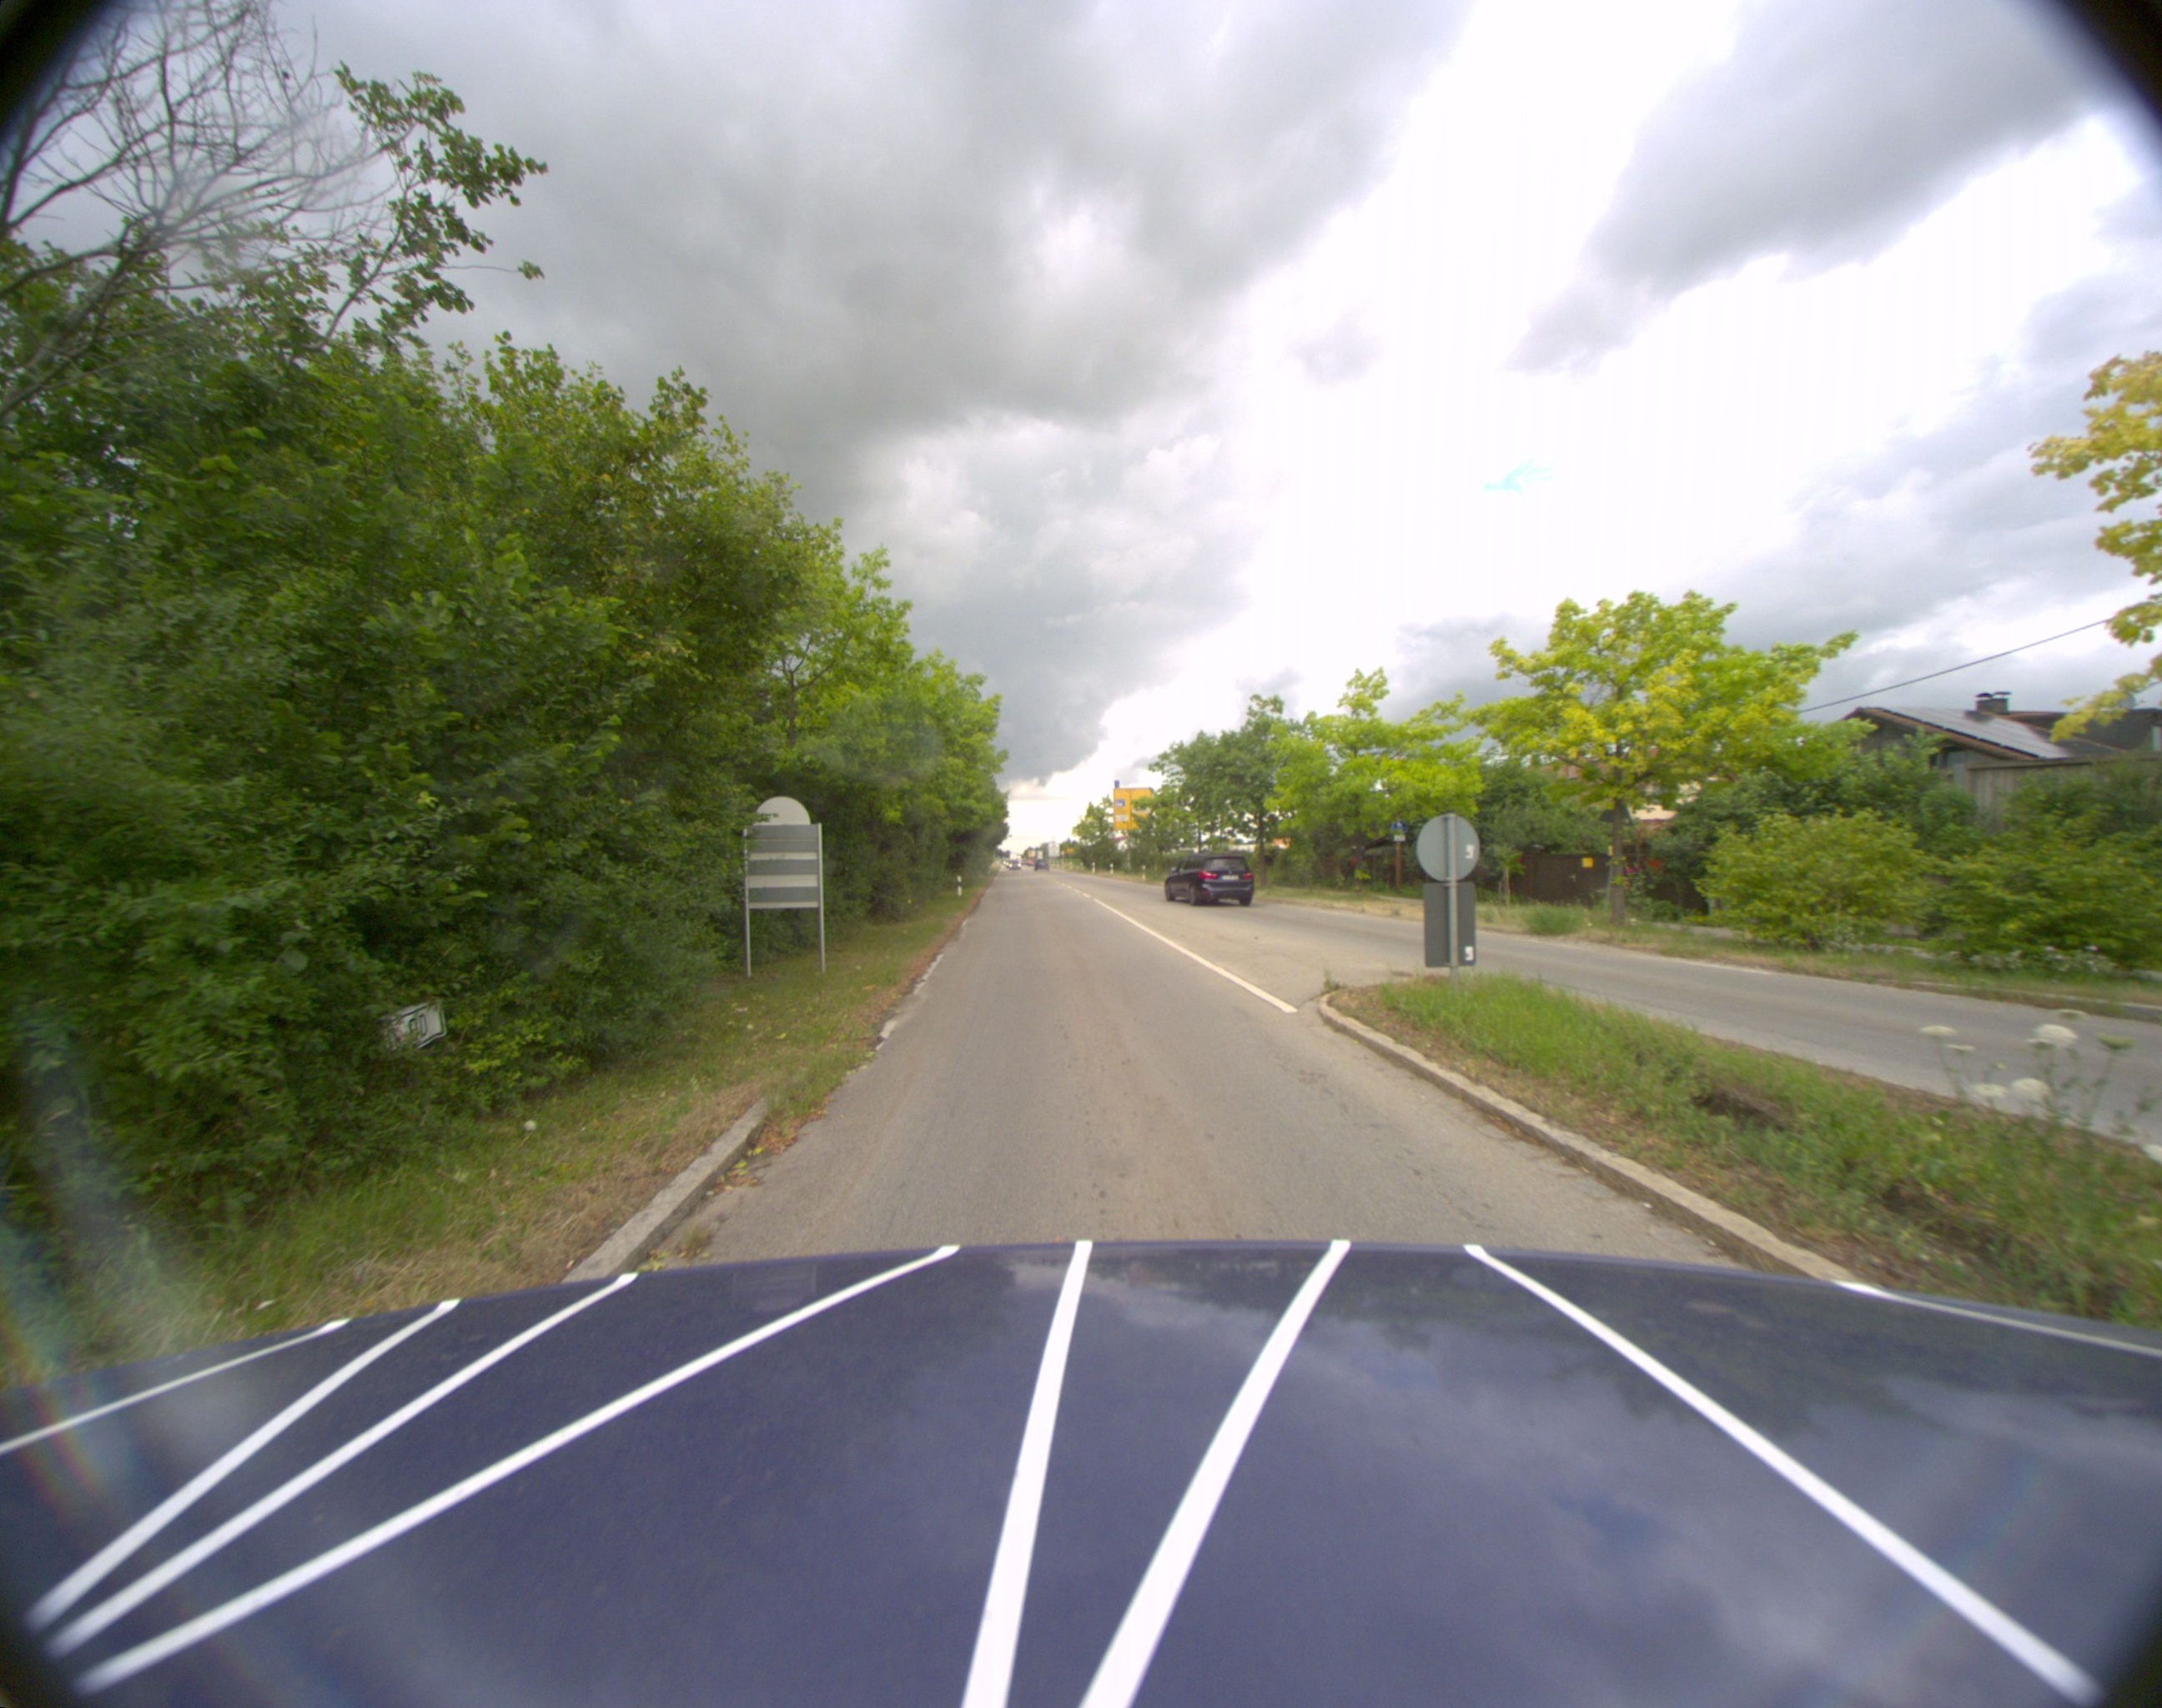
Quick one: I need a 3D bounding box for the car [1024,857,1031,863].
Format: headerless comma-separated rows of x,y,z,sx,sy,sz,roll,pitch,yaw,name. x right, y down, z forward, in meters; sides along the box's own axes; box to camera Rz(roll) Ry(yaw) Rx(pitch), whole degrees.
-13.917,1.561,197.687,1.858,1.456,4.368,-1,0,-6,car

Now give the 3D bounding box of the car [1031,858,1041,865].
-9.365,1.541,157.037,1.821,1.485,4.202,0,0,-6,car

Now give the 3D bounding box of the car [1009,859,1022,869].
-9.671,1.495,111.497,1.870,1.352,3.824,-1,0,-5,car

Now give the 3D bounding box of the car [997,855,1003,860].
-24.629,1.133,232.297,1.778,1.407,4.077,0,0,-6,car

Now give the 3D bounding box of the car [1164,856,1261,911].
4.025,0.852,24.046,1.744,1.576,4.353,1,0,-8,car

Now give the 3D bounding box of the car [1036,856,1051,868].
-4.761,0.970,96.246,1.738,1.525,4.093,0,0,-5,car
